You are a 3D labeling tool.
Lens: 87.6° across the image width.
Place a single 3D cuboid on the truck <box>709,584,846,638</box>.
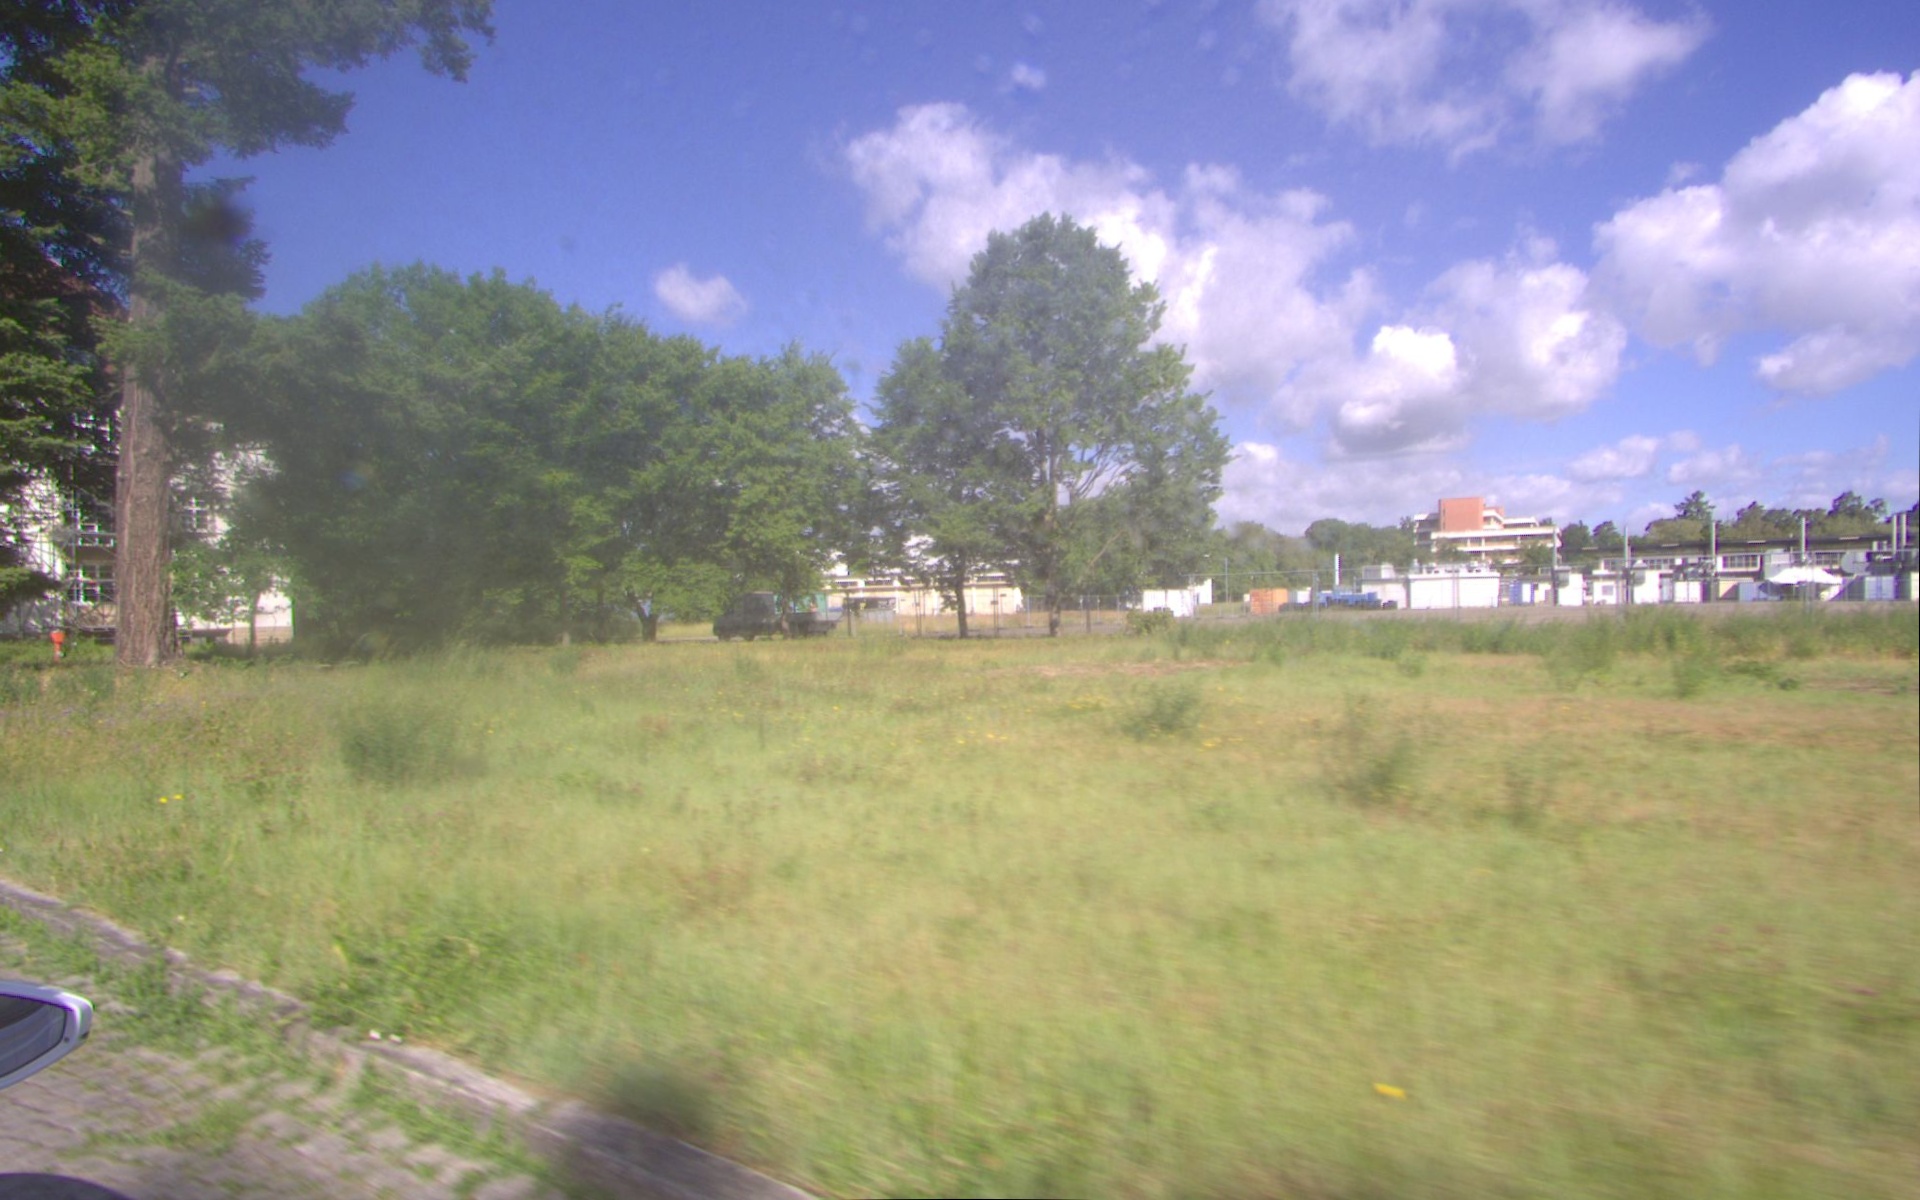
[{"bbox_3d":[-8.829,0.592,48.033,6.788,2.455,2.229,-1,-1,32],"label":"truck"}]
